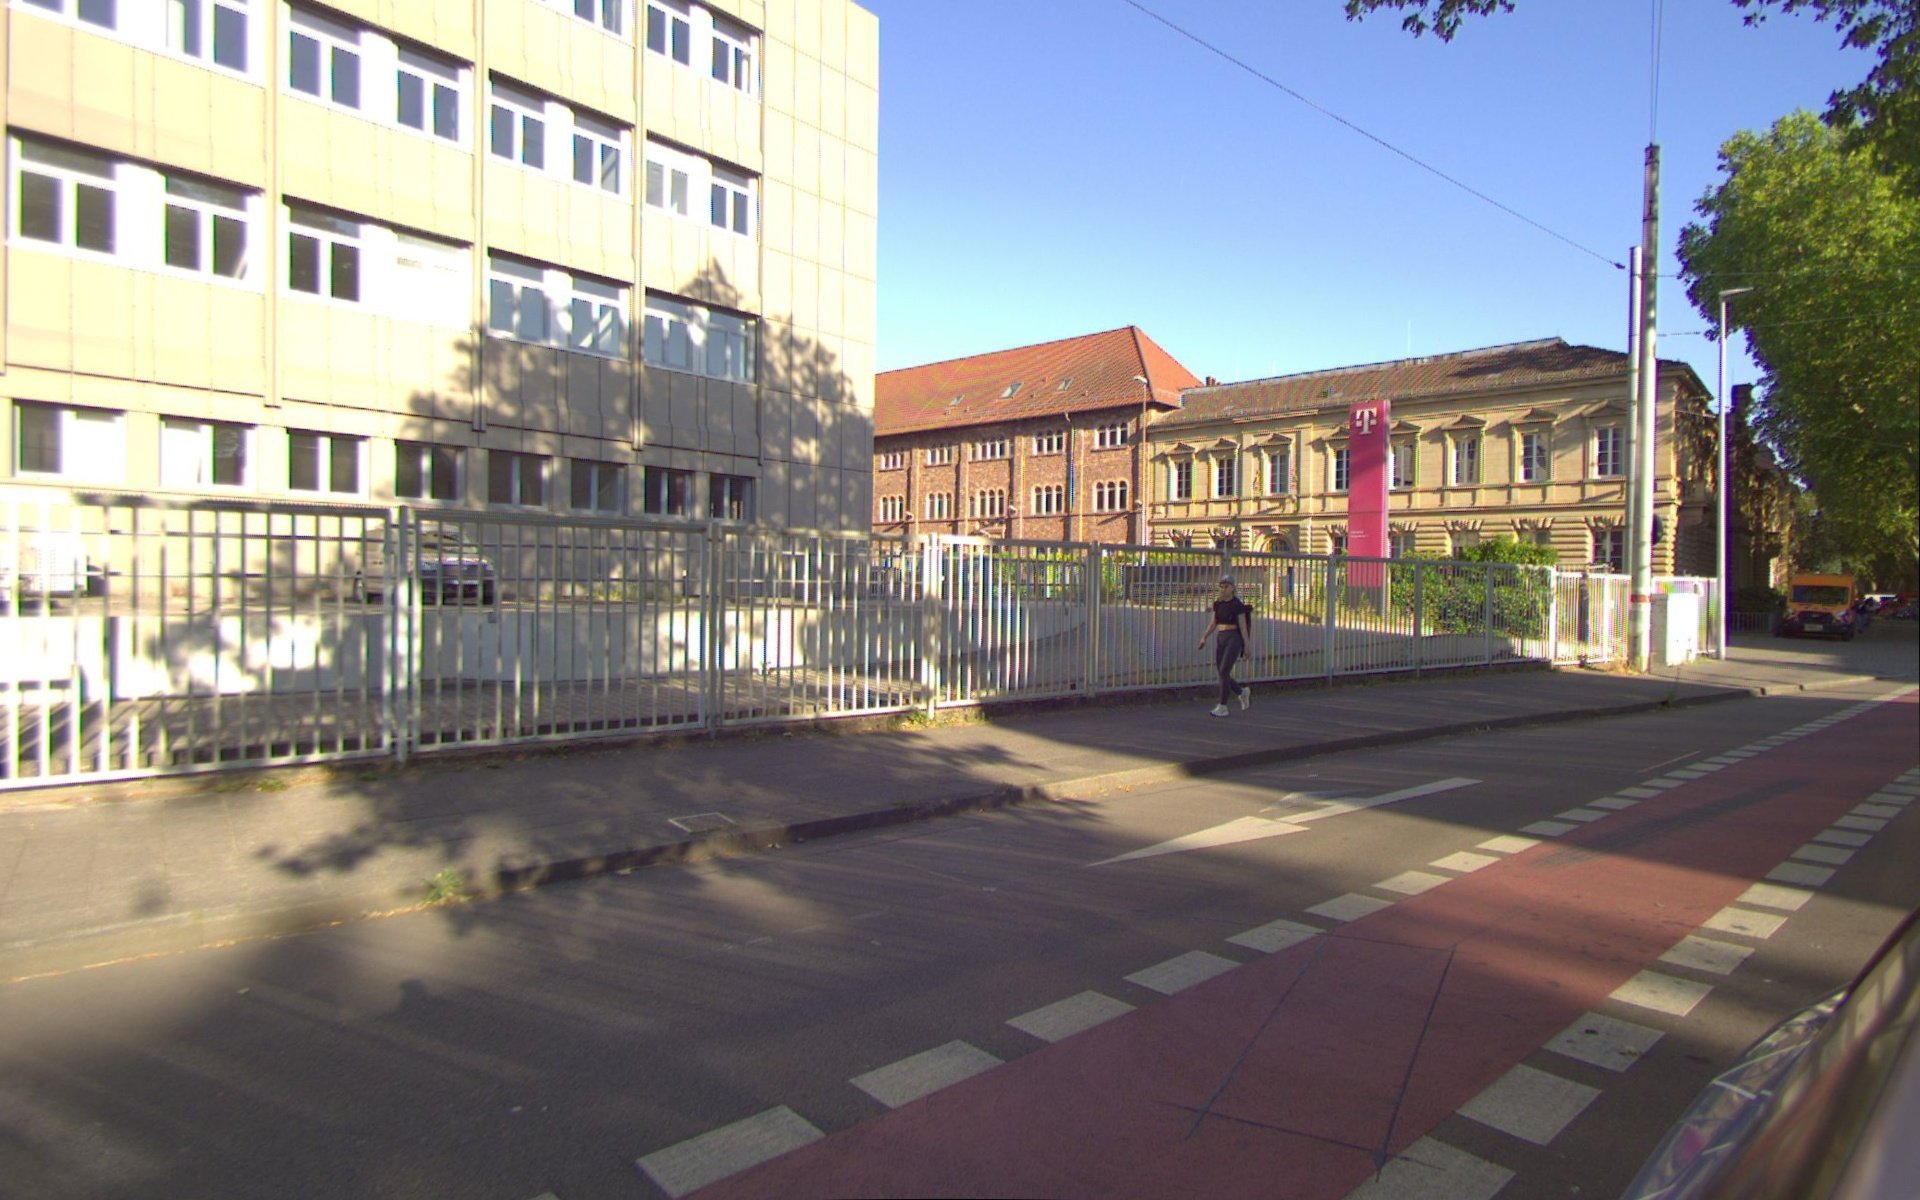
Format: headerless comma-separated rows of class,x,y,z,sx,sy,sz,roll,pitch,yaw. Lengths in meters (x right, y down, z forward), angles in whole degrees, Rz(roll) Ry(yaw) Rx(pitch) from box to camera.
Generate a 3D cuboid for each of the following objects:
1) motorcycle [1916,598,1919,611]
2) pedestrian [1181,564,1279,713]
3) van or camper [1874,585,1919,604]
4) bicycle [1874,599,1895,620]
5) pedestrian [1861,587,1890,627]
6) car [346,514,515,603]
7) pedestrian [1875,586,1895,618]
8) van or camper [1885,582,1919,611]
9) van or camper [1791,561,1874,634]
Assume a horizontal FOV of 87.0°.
motorcycle,76.241,0.375,79.801,1.249,1.067,0.394,1,1,6
pedestrian,3.238,0.428,12.130,0.913,1.705,0.698,0,1,-37
van or camper,129.381,-0.795,138.619,6.083,2.461,2.390,2,1,43
bicycle,49.360,0.486,54.039,0.674,1.044,1.873,4,3,40
pedestrian,40.174,0.297,44.430,0.646,1.758,0.998,1,1,26
car,-11.585,-0.870,22.024,4.250,1.739,1.963,2,1,43
pedestrian,49.343,0.097,54.008,0.669,1.639,1.086,4,3,41
van or camper,90.184,-0.320,94.158,5.907,2.528,2.189,2,4,41
van or camper,33.290,-0.137,38.547,2.036,2.591,5.681,2,1,44
